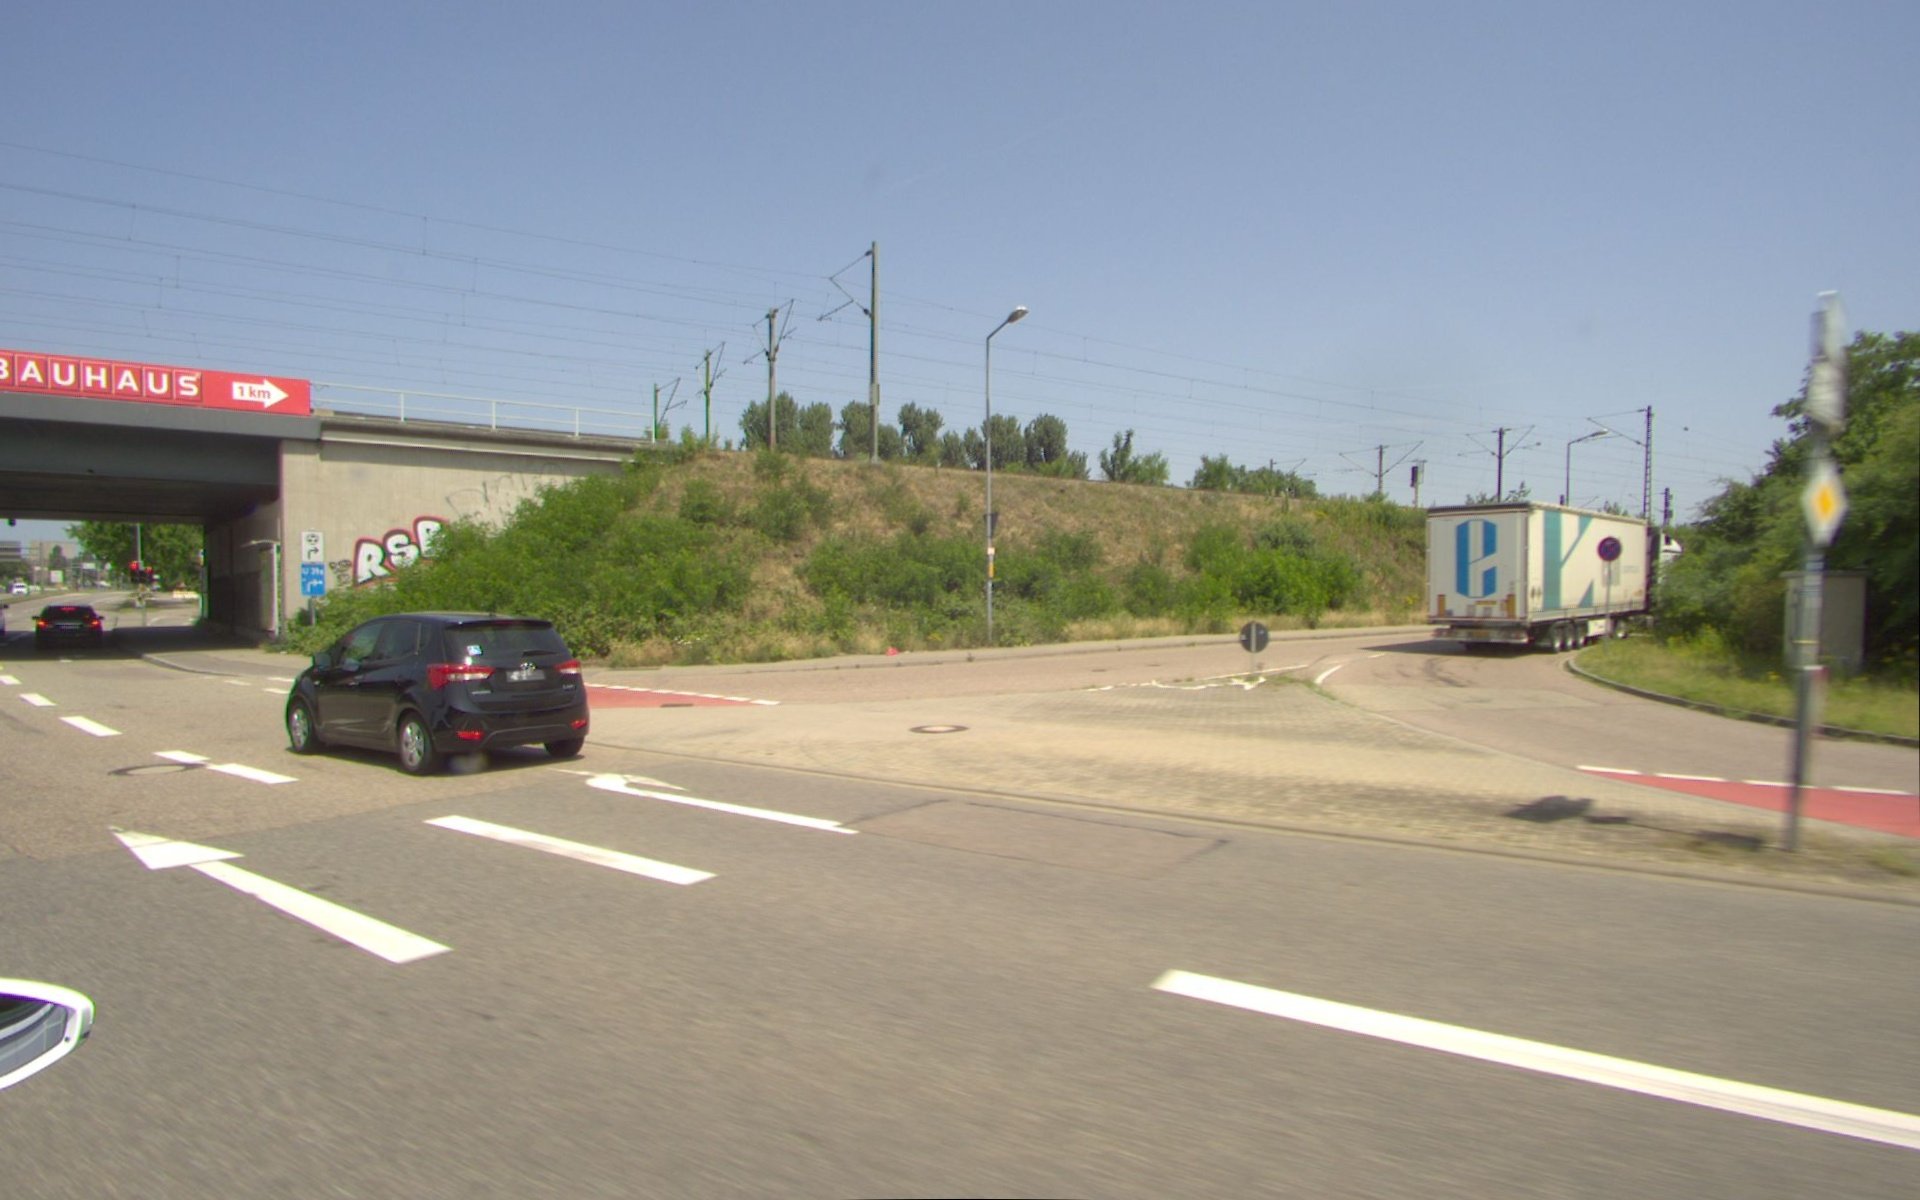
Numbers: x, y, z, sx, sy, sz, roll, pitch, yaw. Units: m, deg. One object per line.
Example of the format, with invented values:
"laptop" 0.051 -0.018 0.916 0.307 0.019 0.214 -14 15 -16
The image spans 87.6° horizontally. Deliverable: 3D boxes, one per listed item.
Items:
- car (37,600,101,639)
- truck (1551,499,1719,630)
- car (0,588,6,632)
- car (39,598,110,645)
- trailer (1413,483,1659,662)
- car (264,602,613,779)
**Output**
"car" -36.658 0.784 41.176 1.892 1.508 3.962 0 -1 -43
"truck" 24.849 -1.334 36.835 5.995 4.429 3.065 -3 3 -33
"car" -44.063 0.465 44.871 1.828 1.915 3.962 0 -1 -43
"car" -32.119 0.764 36.290 1.828 1.589 3.962 0 -1 -43
"trailer" 18.420 -0.992 31.177 3.056 4.429 14.629 1 3 44
"car" -5.849 0.846 11.089 4.021 1.620 1.762 0 0 35
